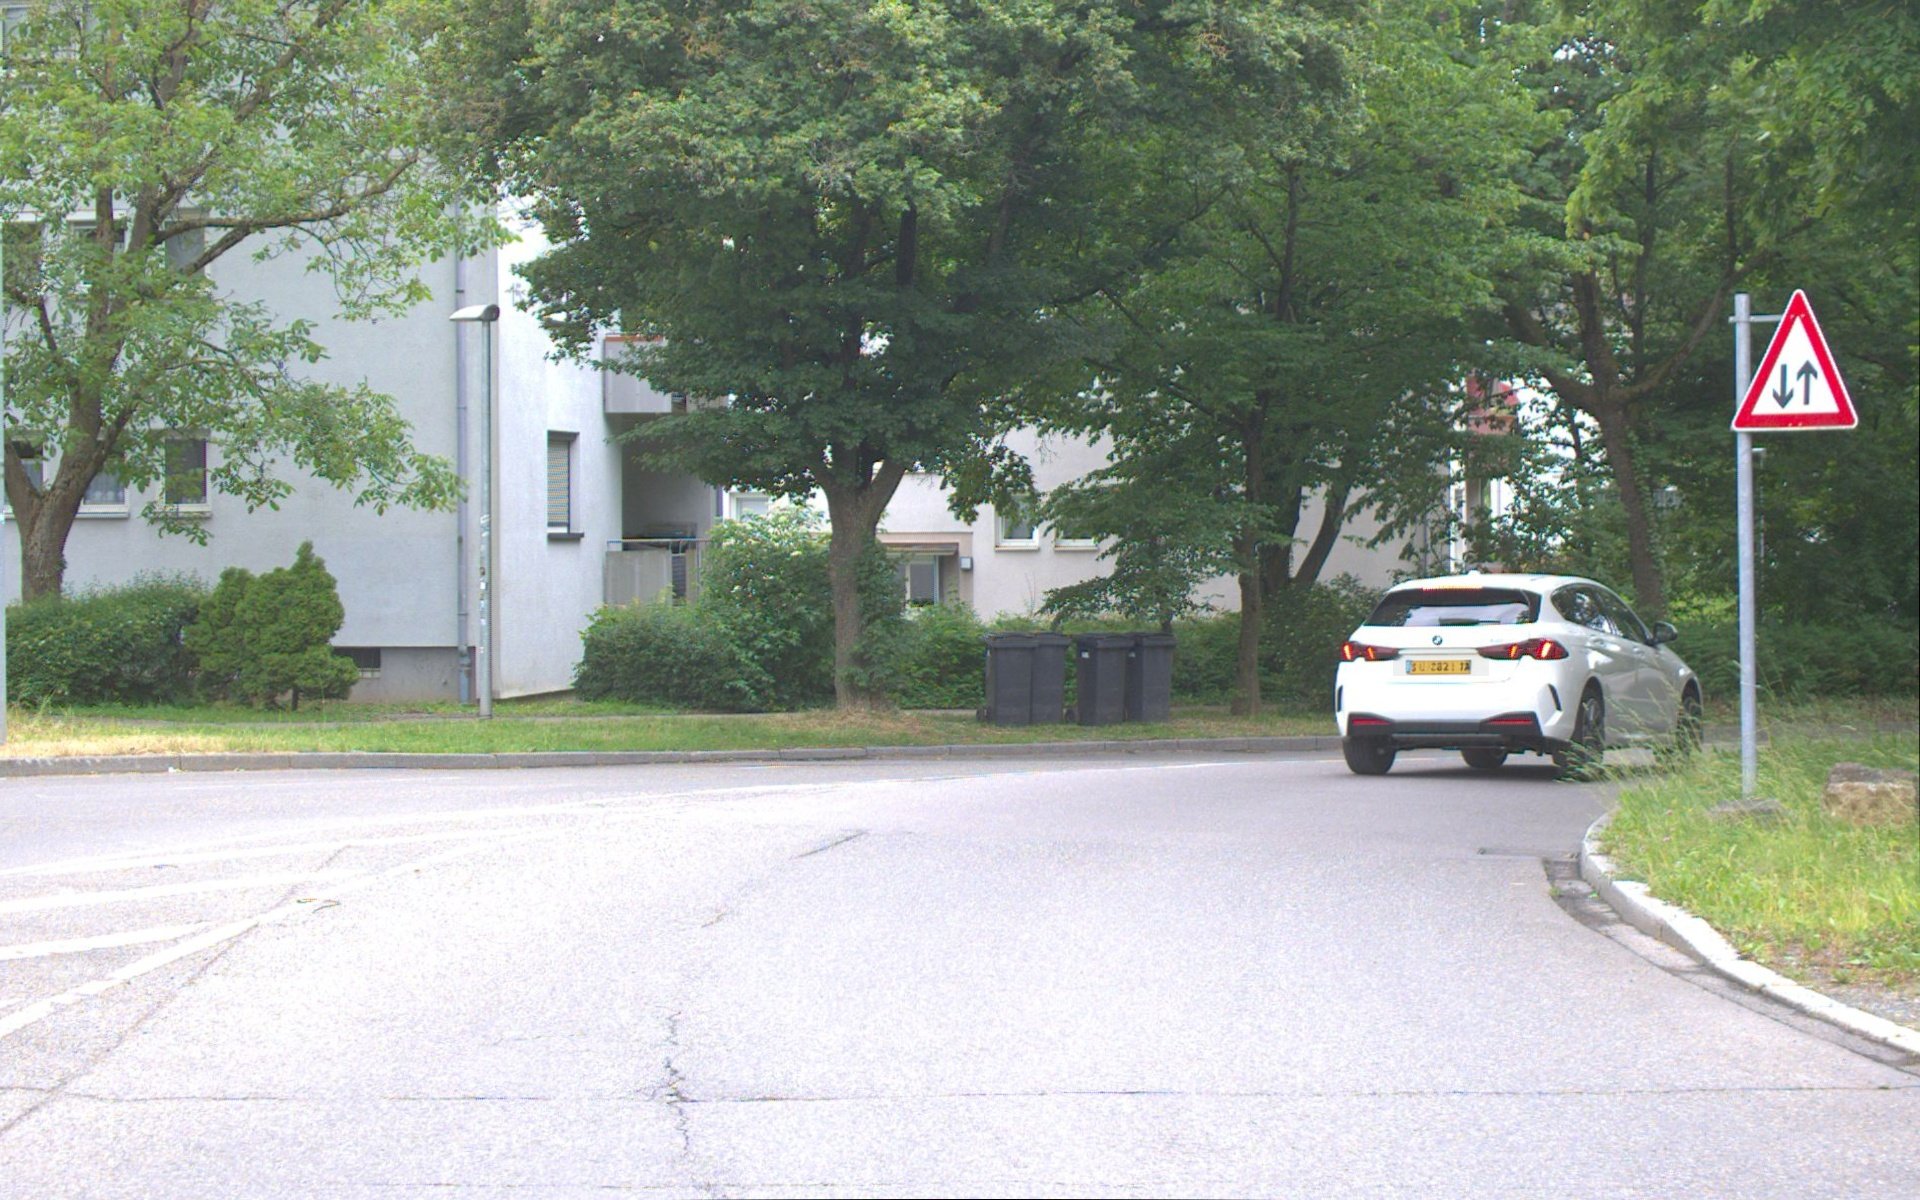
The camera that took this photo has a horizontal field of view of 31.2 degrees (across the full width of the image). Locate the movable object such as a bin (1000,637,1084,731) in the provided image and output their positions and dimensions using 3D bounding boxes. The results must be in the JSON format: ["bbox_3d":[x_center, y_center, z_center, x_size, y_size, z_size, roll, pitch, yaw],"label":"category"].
[{"bbox_3d":[0.807,0.827,33.931,0.591,0.876,0.621,1,2,-23],"label":"movable object such as a bin"}]

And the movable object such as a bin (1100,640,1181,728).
[{"bbox_3d":[1.806,0.841,34.390,0.576,0.842,0.601,1,2,-23],"label":"movable object such as a bin"}]

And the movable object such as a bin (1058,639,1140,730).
[{"bbox_3d":[1.379,0.834,34.149,0.576,0.863,0.601,1,2,-23],"label":"movable object such as a bin"}]

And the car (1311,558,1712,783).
[{"bbox_3d":[4.195,0.520,25.608,1.798,1.512,4.201,1,-1,26],"label":"car"}]
